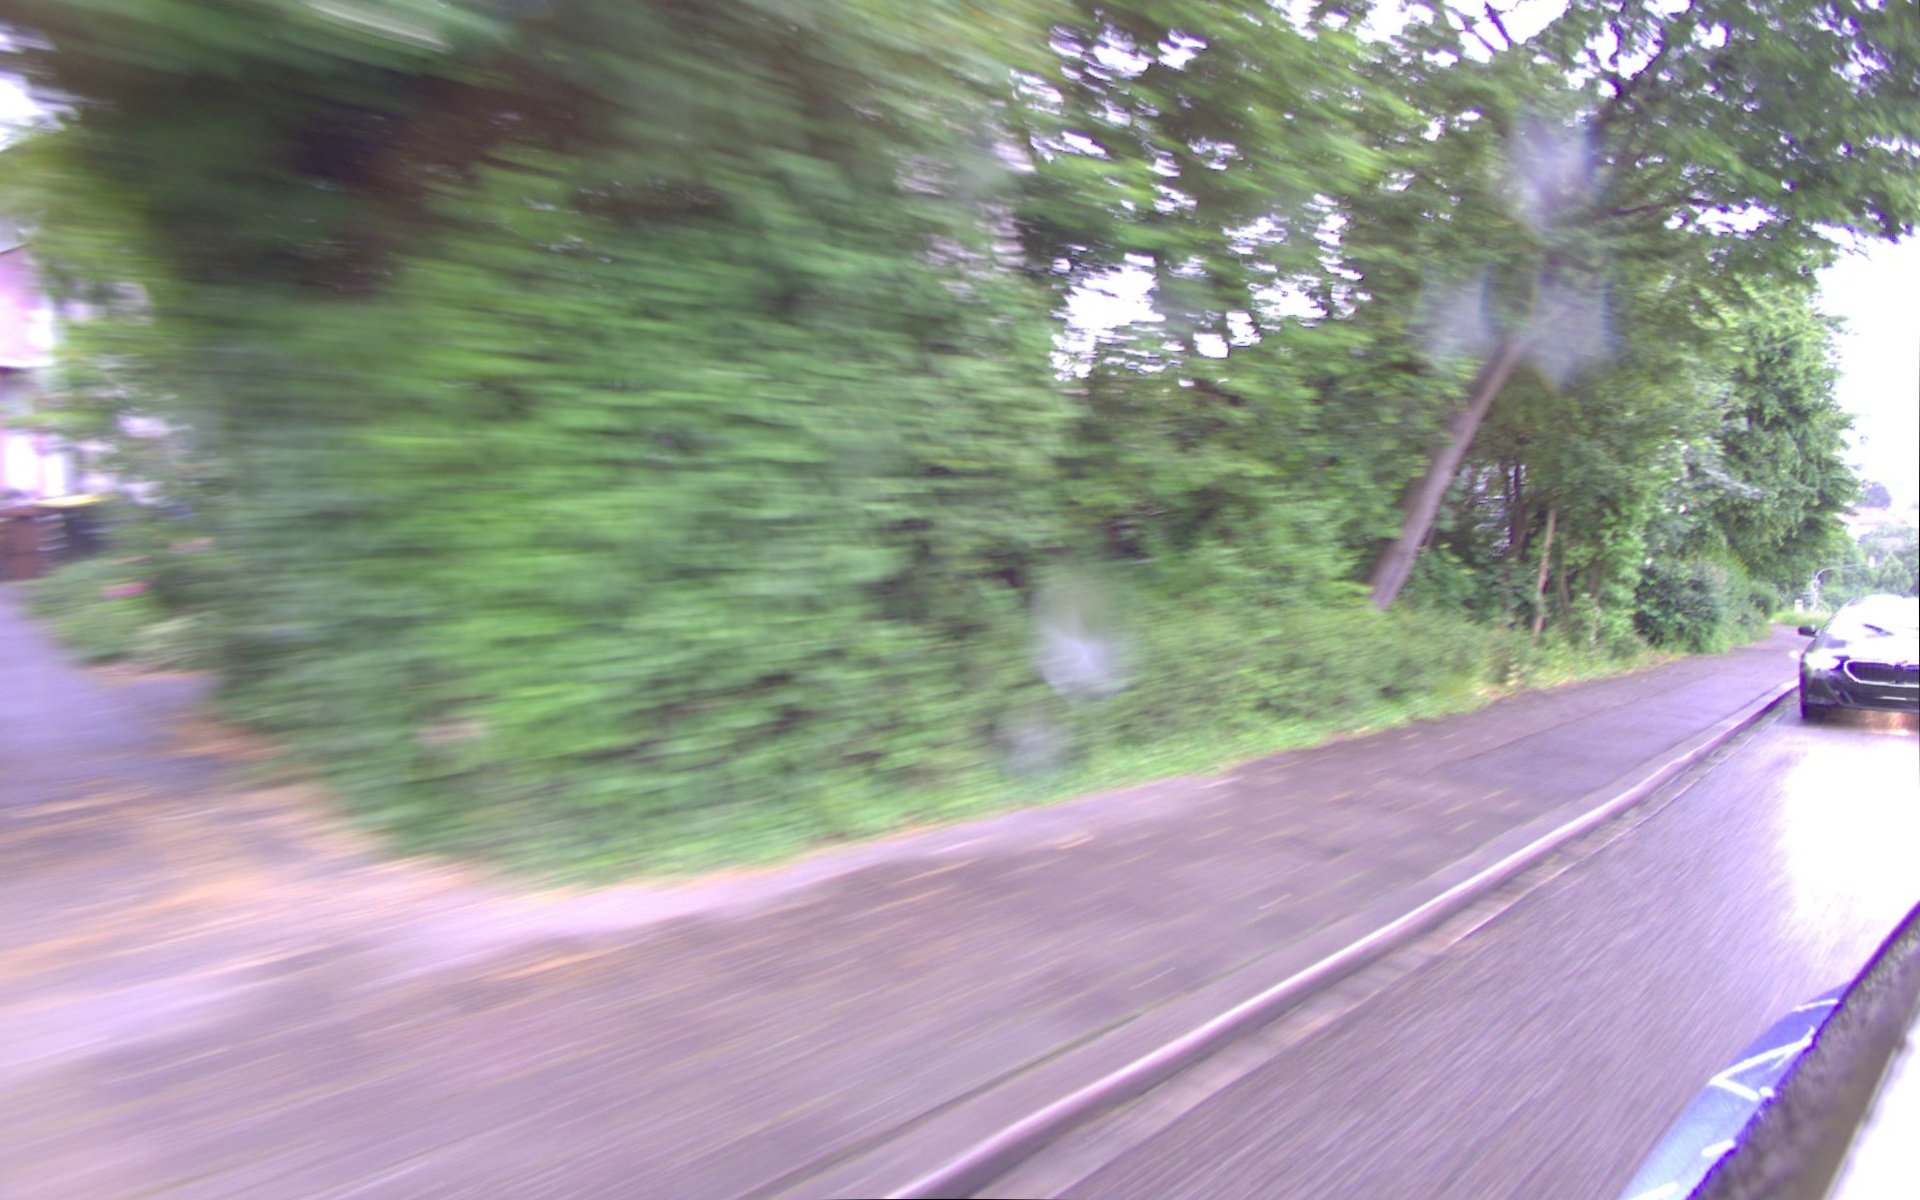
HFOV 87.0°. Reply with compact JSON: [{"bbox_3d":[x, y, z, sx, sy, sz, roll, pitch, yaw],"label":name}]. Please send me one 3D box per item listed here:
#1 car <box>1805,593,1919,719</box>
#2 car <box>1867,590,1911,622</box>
[{"bbox_3d":[12.396,0.628,13.000,4.211,1.396,1.843,-1,0,-43],"label":"car"},{"bbox_3d":[52.652,0.329,57.415,1.698,1.701,4.219,3,2,41],"label":"car"}]
